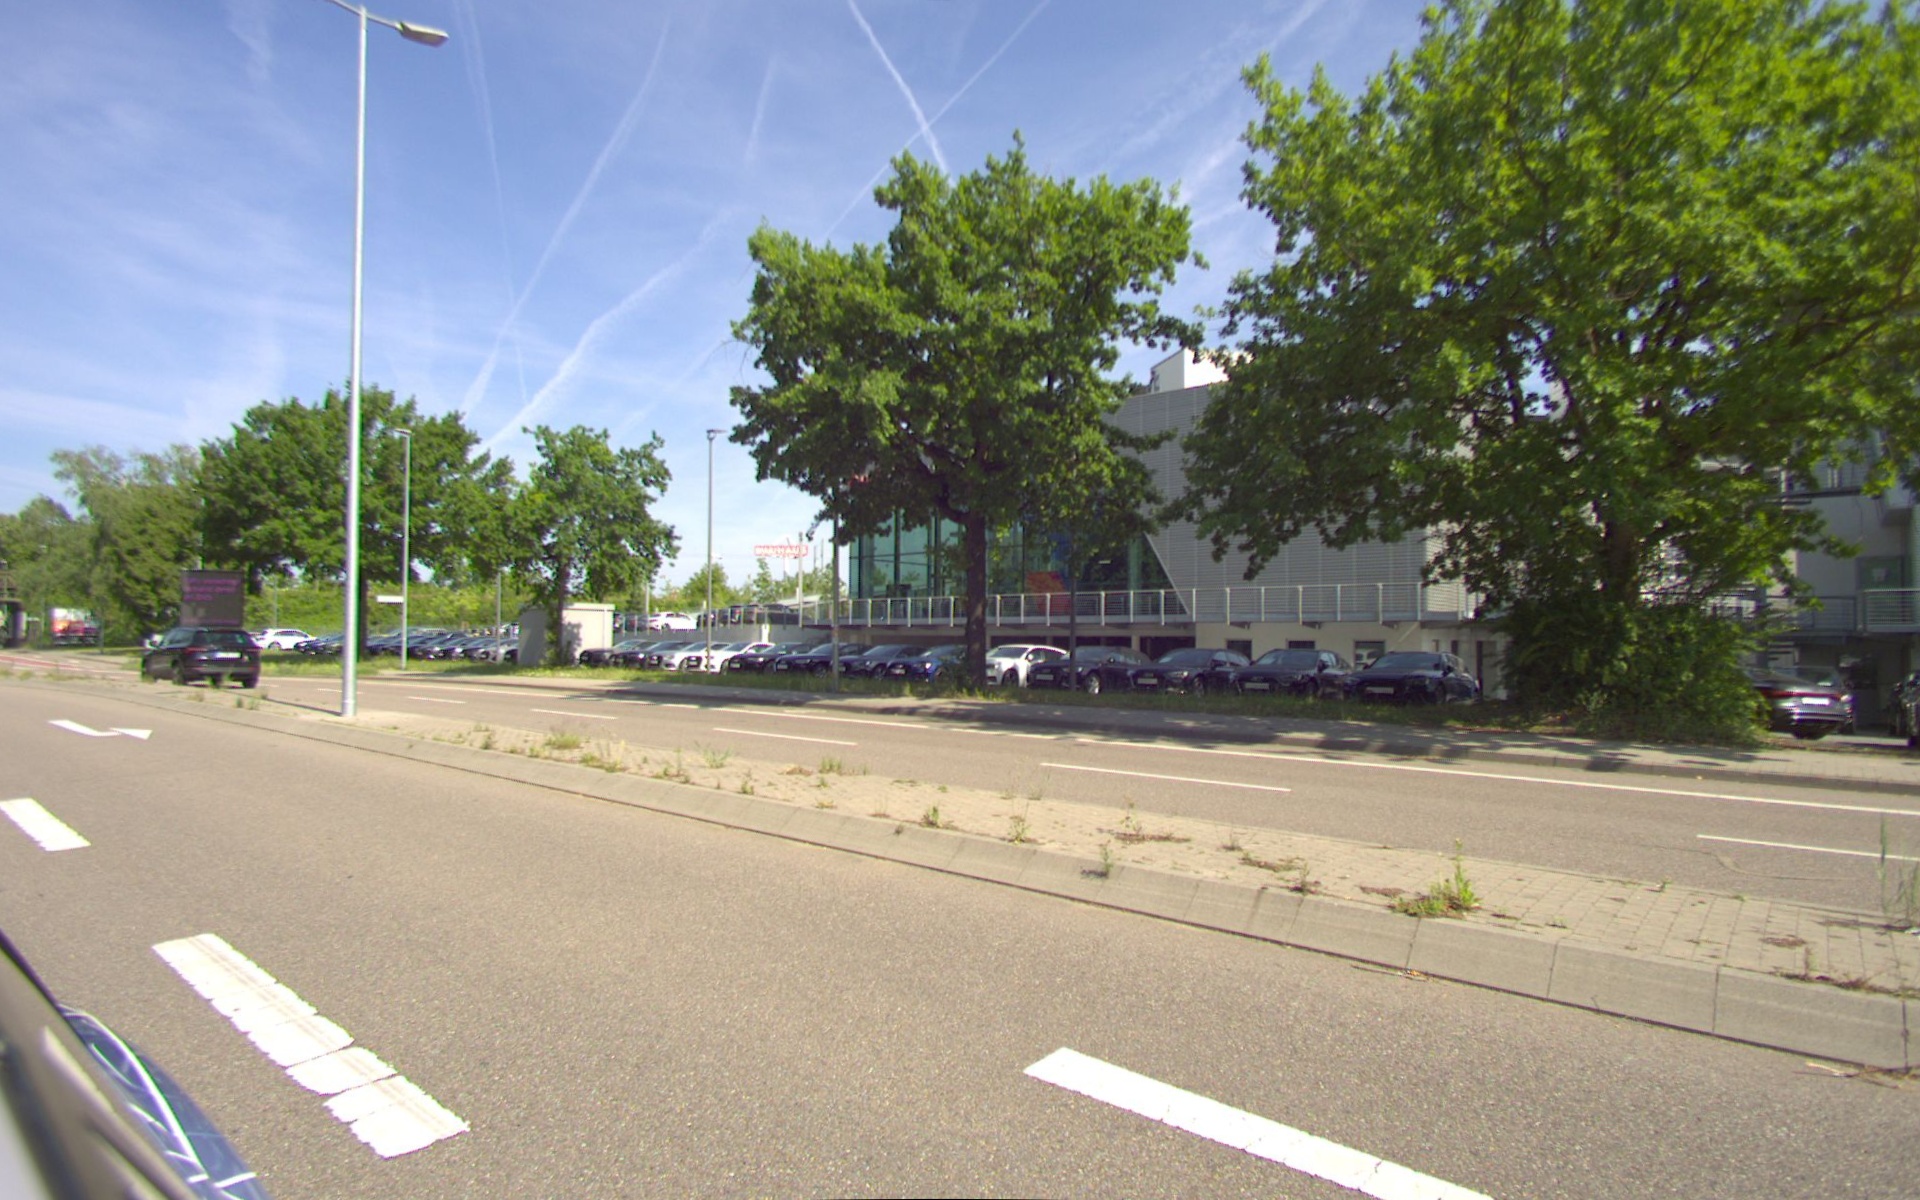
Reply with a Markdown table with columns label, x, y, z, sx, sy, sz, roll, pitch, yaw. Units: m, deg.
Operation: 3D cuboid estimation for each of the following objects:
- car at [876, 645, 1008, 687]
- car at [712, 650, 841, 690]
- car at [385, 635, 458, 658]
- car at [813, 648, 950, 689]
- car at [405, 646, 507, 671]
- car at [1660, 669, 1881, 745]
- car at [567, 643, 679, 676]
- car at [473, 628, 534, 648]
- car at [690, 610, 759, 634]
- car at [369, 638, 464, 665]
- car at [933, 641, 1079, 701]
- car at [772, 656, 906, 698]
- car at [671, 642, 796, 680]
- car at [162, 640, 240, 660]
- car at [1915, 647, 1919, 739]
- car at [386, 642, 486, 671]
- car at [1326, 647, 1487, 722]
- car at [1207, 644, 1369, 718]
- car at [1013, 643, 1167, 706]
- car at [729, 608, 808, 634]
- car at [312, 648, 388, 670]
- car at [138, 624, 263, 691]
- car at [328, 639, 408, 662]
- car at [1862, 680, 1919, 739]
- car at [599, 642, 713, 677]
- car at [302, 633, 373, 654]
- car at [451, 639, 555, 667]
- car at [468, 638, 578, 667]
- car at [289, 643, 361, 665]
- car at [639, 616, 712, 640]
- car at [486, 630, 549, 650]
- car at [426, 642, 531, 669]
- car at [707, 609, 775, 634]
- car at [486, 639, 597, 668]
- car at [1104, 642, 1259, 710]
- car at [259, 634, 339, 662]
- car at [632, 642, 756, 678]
| label | x | y | z | sx | sy | sz | roll | pitch | yaw |
| --- | --- | --- | --- | --- | --- | --- | --- | --- | --- |
| car | -0.458 | 1.977 | 29.811 | 1.695 | 1.042 | 4.067 | -2 | -7 | 39 |
| car | -6.305 | 2.446 | 35.216 | 1.953 | 1.199 | 4.133 | -2 | -7 | 39 |
| car | -33.356 | 2.873 | 62.753 | 1.863 | 1.295 | 3.558 | -2 | -5 | 39 |
| car | -2.375 | 2.150 | 31.538 | 1.953 | 1.086 | 4.133 | -2 | -7 | 39 |
| car | -26.769 | 3.089 | 53.824 | 1.917 | 1.300 | 4.455 | -2 | -3 | 39 |
| car | 15.611 | 2.070 | 19.788 | 1.573 | 1.265 | 3.988 | 1 | -5 | 9 |
| car | -13.920 | 2.475 | 41.960 | 1.895 | 1.165 | 3.948 | -2 | -7 | 39 |
| car | -37.463 | 3.115 | 83.064 | 1.997 | 1.488 | 4.162 | -2 | -2 | 37 |
| car | -15.168 | 1.417 | 65.248 | 2.050 | 1.507 | 3.946 | -2 | -2 | 40 |
| car | -31.411 | 2.969 | 58.601 | 1.977 | 1.487 | 4.455 | -2 | -3 | 39 |
| car | 1.332 | 1.985 | 28.116 | 1.999 | 1.453 | 3.945 | -2 | -7 | 41 |
| car | -3.886 | 2.525 | 32.992 | 1.953 | 1.199 | 4.133 | -2 | -7 | 39 |
| car | -8.247 | 2.260 | 37.088 | 1.953 | 1.199 | 4.133 | -2 | -7 | 39 |
| car | -60.104 | 3.949 | 80.173 | 1.999 | 1.400 | 4.638 | -2 | -2 | 40 |
| car | 15.479 | 1.517 | 14.934 | 1.912 | 1.430 | 3.942 | -3 | -7 | 44 |
| car | -28.659 | 3.080 | 55.440 | 1.917 | 1.487 | 4.455 | -2 | -3 | 39 |
| car | 9.409 | 1.792 | 21.166 | 1.999 | 1.369 | 3.945 | -2 | -7 | 41 |
| car | 7.530 | 1.872 | 23.004 | 2.050 | 1.453 | 4.260 | -2 | -7 | 40 |
| car | 3.489 | 1.986 | 26.630 | 1.999 | 1.453 | 4.203 | -2 | -7 | 41 |
| car | -11.561 | 1.280 | 61.228 | 1.985 | 1.507 | 4.473 | -2 | -2 | 40 |
| car | -38.458 | 3.708 | 63.874 | 1.661 | 1.295 | 3.705 | -2 | -5 | 39 |
| car | -20.240 | 1.516 | 26.919 | 4.207 | 1.631 | 1.720 | -2 | -6 | 41 |
| car | -36.522 | 3.129 | 62.502 | 1.838 | 1.351 | 3.849 | -2 | -5 | 39 |
| car | 22.151 | 2.563 | 23.503 | 1.748 | 1.261 | 3.615 | -3 | -7 | 42 |
| car | -12.027 | 2.384 | 40.246 | 1.895 | 1.165 | 3.948 | -2 | -7 | 39 |
| car | -40.389 | 2.835 | 65.707 | 1.742 | 1.295 | 3.558 | -2 | -5 | 39 |
| car | -22.671 | 2.623 | 50.369 | 1.690 | 1.300 | 4.455 | -2 | -3 | 39 |
| car | -20.965 | 2.510 | 48.726 | 2.002 | 1.300 | 4.455 | -2 | -3 | 39 |
| car | -42.290 | 3.575 | 67.468 | 1.742 | 1.295 | 3.754 | -2 | -2 | 39 |
| car | -19.255 | 1.931 | 68.549 | 1.977 | 1.496 | 4.455 | -2 | -3 | 39 |
| car | -35.637 | 3.234 | 81.575 | 1.997 | 1.488 | 4.162 | -2 | -2 | 37 |
| car | -24.688 | 2.834 | 52.014 | 1.917 | 1.300 | 4.455 | -2 | -3 | 39 |
| car | -13.603 | 1.318 | 62.971 | 1.667 | 1.507 | 3.946 | -2 | -2 | 40 |
| car | -19.530 | 2.473 | 47.383 | 1.917 | 1.300 | 4.455 | -2 | -3 | 39 |
| car | 5.539 | 1.910 | 25.006 | 1.999 | 1.453 | 4.096 | -2 | -7 | 41 |
| car | -46.544 | 3.350 | 71.334 | 1.999 | 1.889 | 4.416 | -2 | -2 | 42 |
| car | -10.131 | 2.330 | 38.768 | 2.085 | 1.165 | 4.133 | -2 | -7 | 39 |
